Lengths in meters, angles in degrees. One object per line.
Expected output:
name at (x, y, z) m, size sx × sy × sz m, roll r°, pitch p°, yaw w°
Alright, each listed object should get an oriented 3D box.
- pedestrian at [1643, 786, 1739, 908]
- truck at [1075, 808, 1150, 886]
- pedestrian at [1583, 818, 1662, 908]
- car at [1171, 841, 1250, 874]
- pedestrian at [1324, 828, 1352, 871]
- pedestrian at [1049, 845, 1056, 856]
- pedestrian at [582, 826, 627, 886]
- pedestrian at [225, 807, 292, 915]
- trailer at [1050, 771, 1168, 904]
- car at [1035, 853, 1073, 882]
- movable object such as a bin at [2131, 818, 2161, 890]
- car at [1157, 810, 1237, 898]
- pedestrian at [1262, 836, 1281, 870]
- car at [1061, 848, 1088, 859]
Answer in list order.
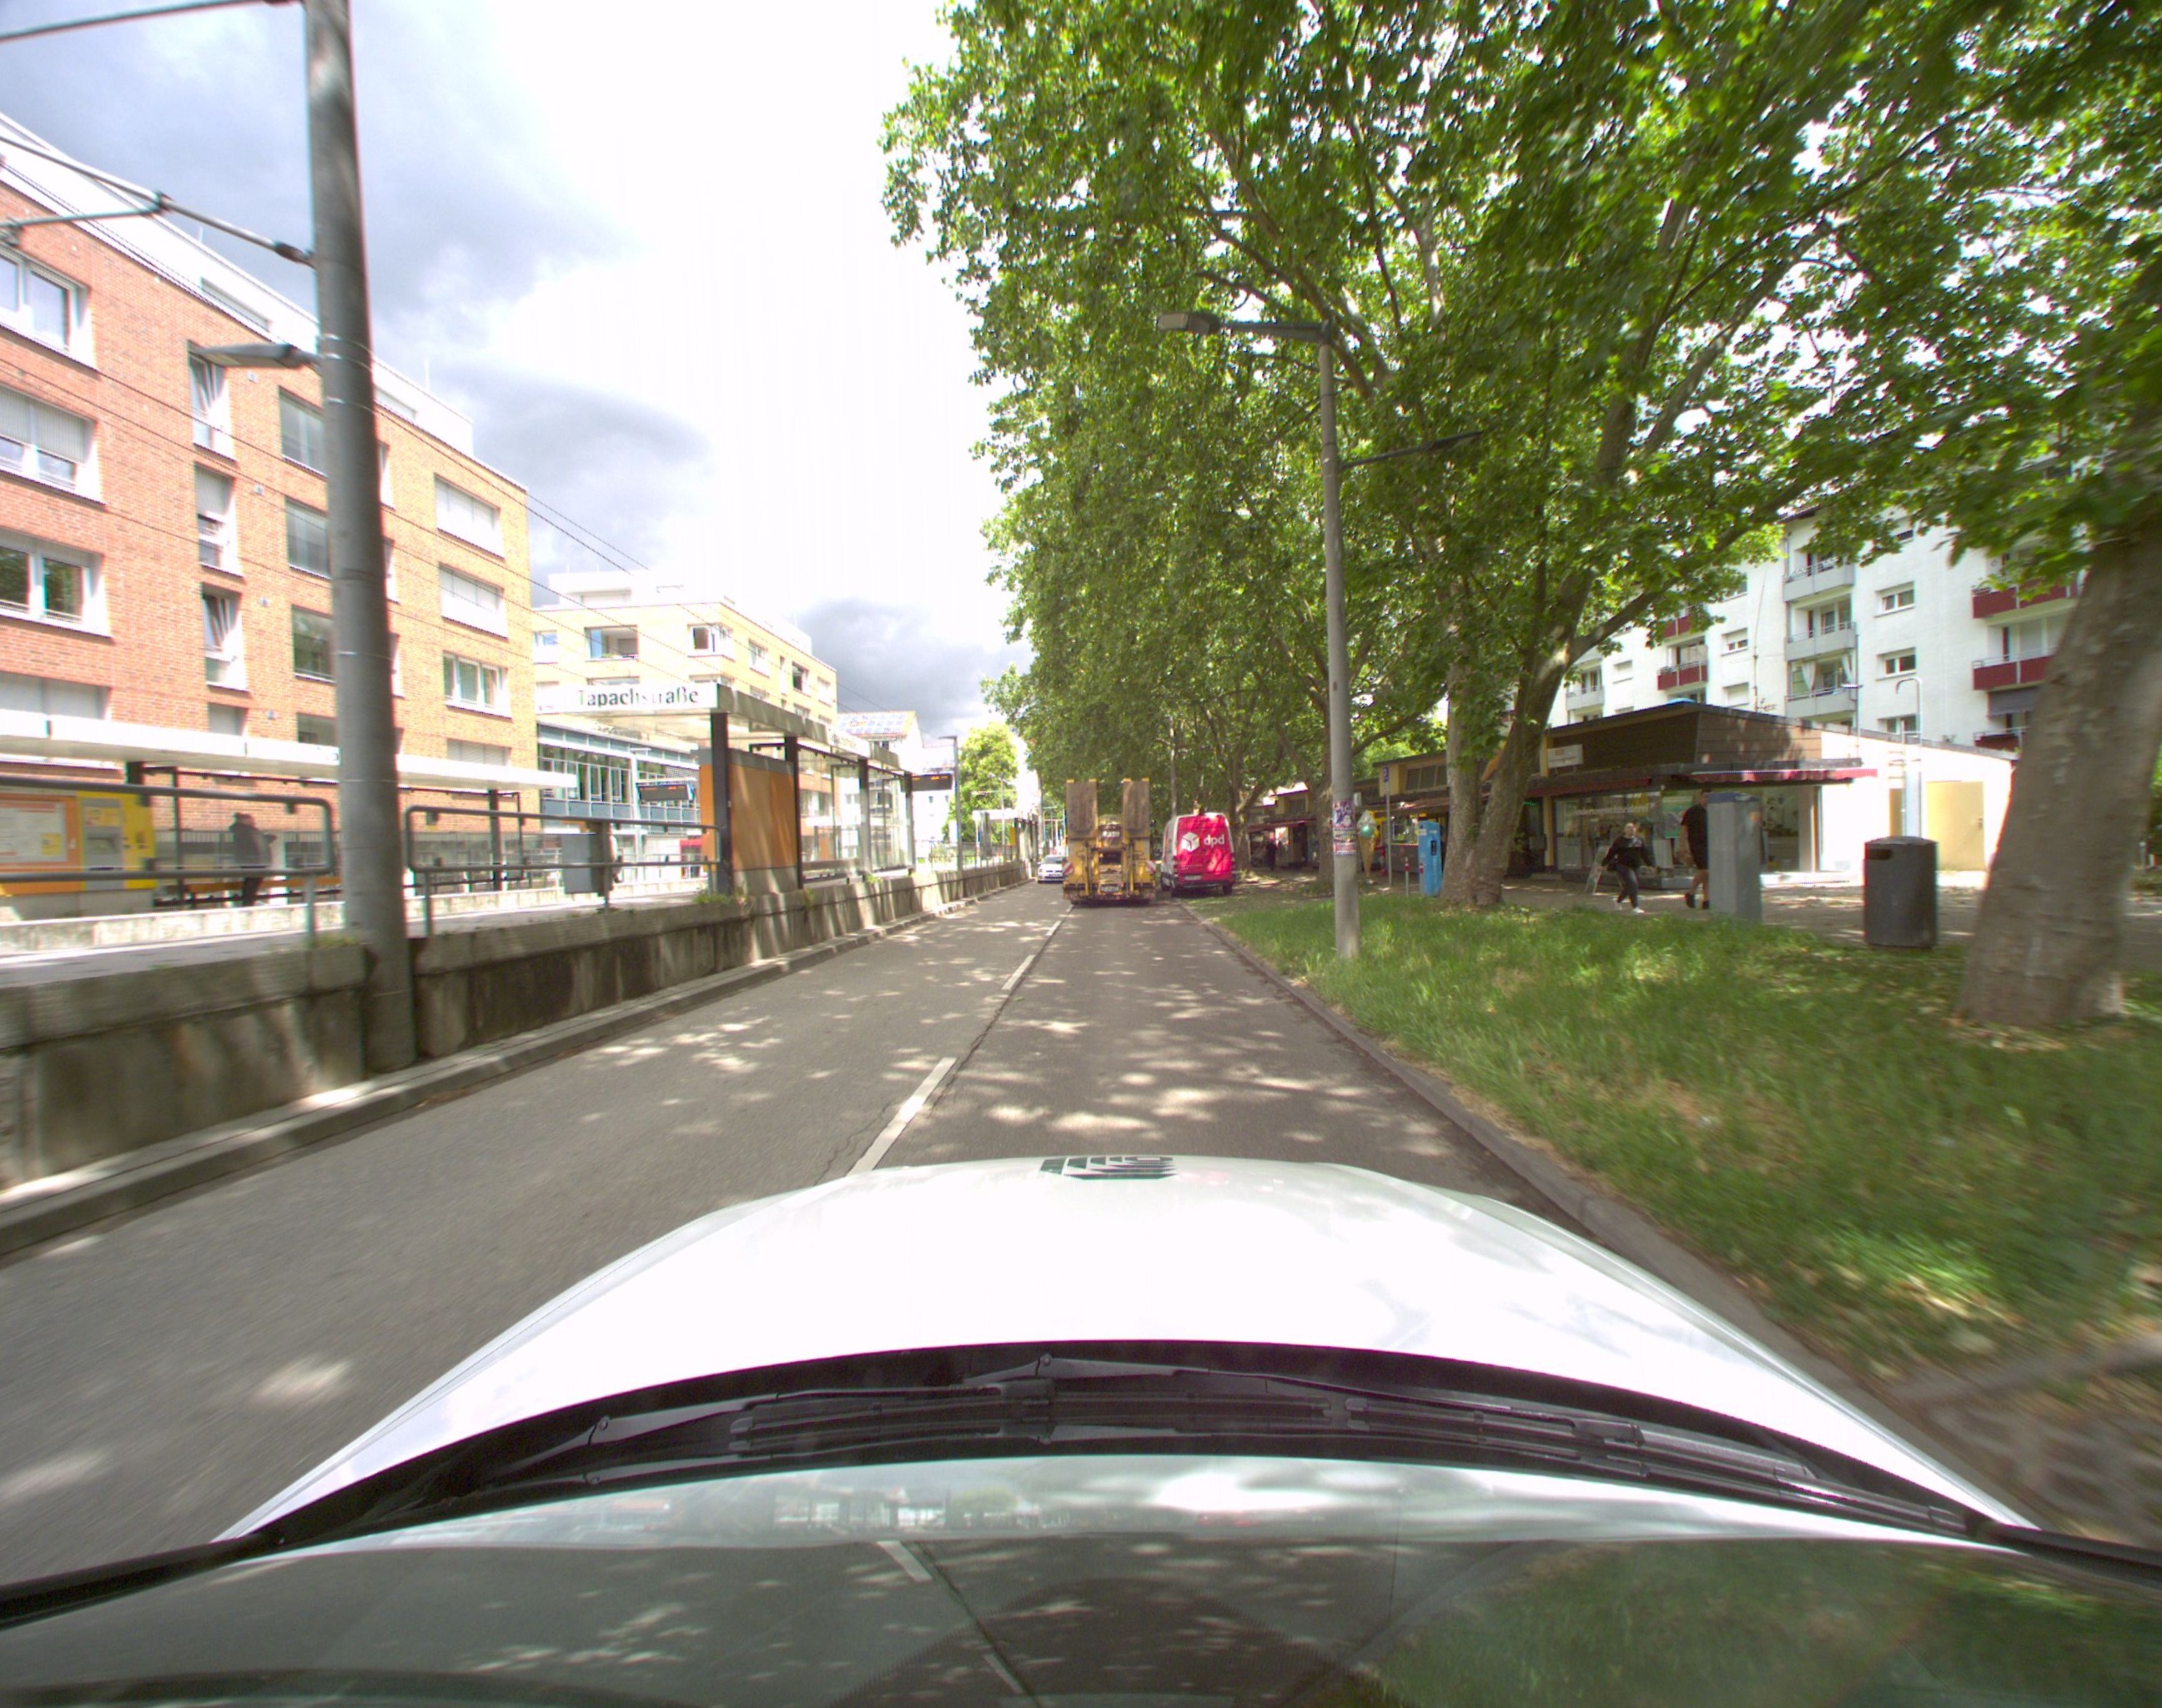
pedestrian at (9.977, -0.110, 13.360) m, size 0.741 × 1.883 × 0.942 m, roll -4°, pitch -1°, yaw 1°
truck at (1.497, -0.302, 37.044) m, size 2.977 × 3.135 × 7.894 m, roll -1°, pitch 0°, yaw 3°
pedestrian at (9.105, 0.144, 13.739) m, size 0.623 × 1.447 × 1.029 m, roll -2°, pitch 0°, yaw 2°
car at (6.920, 0.187, 43.682) m, size 3.823 × 1.562 × 1.617 m, roll -3°, pitch 0°, yaw -5°
pedestrian at (11.188, -0.188, 35.475) m, size 0.610 × 1.801 × 0.914 m, roll -2°, pitch -1°, yaw -44°
pedestrian at (-4.794, -0.540, 136.512) m, size 0.890 × 1.867 × 0.830 m, roll -1°, pitch 0°, yaw -27°
pedestrian at (-13.224, 0.065, 22.620) m, size 0.748 × 1.629 × 0.816 m, roll -1°, pitch 0°, yaw 2°
pedestrian at (-13.838, 0.122, 13.707) m, size 0.532 × 1.763 × 0.528 m, roll -2°, pitch 0°, yaw -1°
trailer at (1.042, -0.453, 27.555) m, size 3.141 × 3.552 × 11.105 m, roll -1°, pitch 0°, yaw 3°
car at (-1.336, 0.656, 41.334) m, size 1.726 × 1.396 × 3.752 m, roll 0°, pitch 0°, yaw 1°
movable object such as a bin at (15.570, -0.011, 11.495) m, size 0.622 × 1.016 × 0.647 m, roll -3°, pitch 0°, yaw -2°
car at (3.869, -0.009, 28.320) m, size 1.897 × 2.581 × 6.837 m, roll -3°, pitch 0°, yaw 2°
pedestrian at (10.184, -0.060, 43.480) m, size 0.757 × 1.724 × 0.658 m, roll -3°, pitch 0°, yaw -2°
car at (-1.364, -0.038, 167.242) m, size 5.093 × 2.102 × 1.968 m, roll -1°, pitch 0°, yaw -12°
